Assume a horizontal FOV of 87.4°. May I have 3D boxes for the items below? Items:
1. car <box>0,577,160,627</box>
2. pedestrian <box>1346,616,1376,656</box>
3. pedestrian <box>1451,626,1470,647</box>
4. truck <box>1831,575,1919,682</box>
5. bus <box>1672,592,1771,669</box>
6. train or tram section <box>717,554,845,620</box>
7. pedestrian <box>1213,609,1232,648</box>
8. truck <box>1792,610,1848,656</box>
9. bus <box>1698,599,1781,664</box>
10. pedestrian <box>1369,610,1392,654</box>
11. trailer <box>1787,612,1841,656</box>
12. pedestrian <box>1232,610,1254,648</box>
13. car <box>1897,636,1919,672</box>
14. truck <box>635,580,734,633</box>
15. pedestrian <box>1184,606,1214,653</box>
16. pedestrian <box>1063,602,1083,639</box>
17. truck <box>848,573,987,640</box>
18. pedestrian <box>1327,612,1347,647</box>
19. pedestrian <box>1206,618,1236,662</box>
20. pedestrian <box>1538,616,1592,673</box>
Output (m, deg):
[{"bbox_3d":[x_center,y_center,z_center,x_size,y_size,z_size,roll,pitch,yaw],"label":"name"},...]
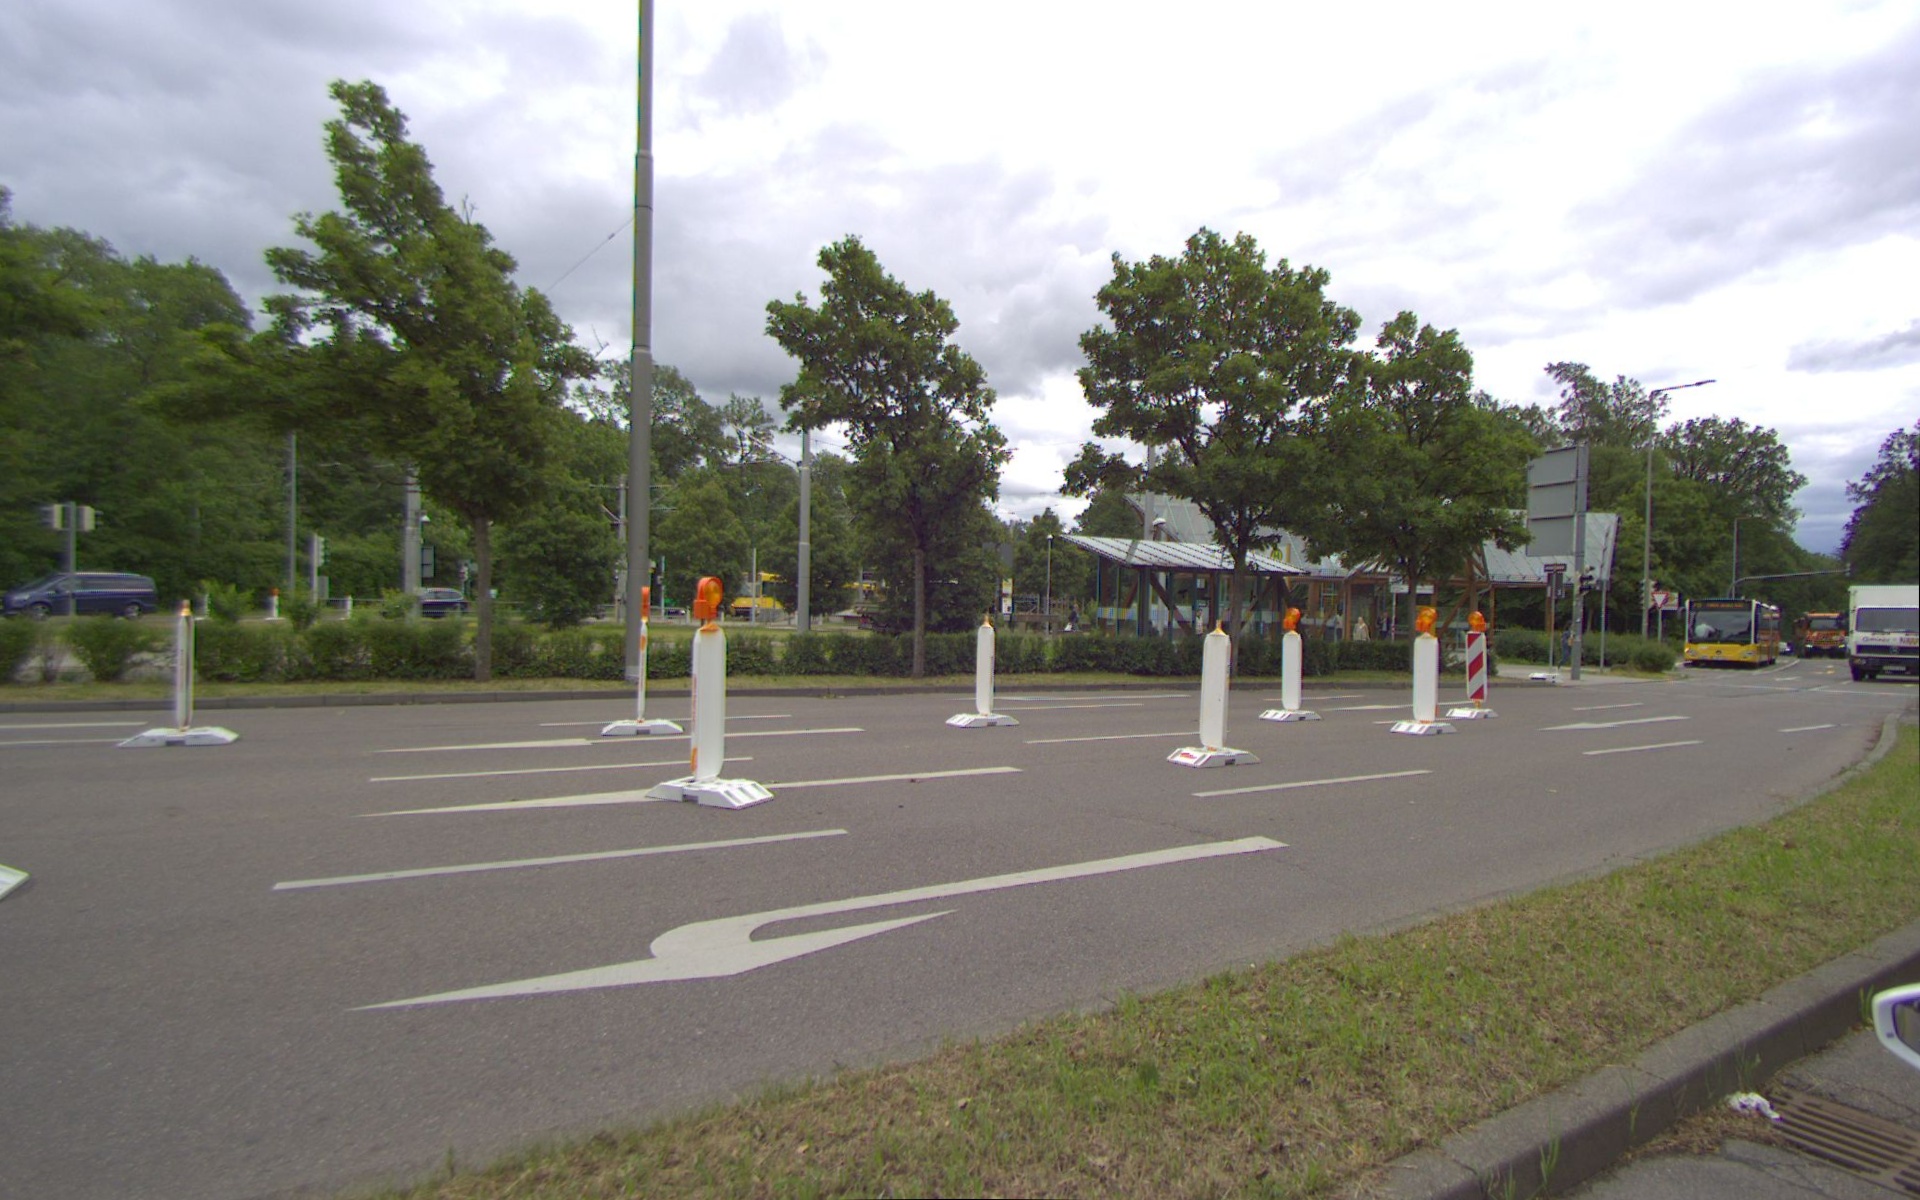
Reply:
[{"bbox_3d":[-35.807,0.064,40.781,1.962,1.840,4.830,2,1,24],"label":"car"},{"bbox_3d":[15.684,1.400,39.309,0.870,1.545,0.758,1,2,-45],"label":"pedestrian"},{"bbox_3d":[23.735,1.731,47.657,0.559,0.997,0.553,1,1,-30],"label":"pedestrian"},{"bbox_3d":[31.305,0.969,33.559,6.160,3.281,2.605,2,-2,-42],"label":"truck"},{"bbox_3d":[35.367,1.410,46.482,2.866,3.168,9.708,1,-1,42],"label":"bus"},{"bbox_3d":[-13.857,-1.035,81.070,3.514,4.595,18.693,2,1,11],"label":"train or tram section"},{"bbox_3d":[11.618,1.254,44.450,0.573,1.646,0.673,2,1,-6],"label":"pedestrian"},{"bbox_3d":[65.731,2.603,76.920,2.704,3.361,7.135,-1,-3,37],"label":"truck"},{"bbox_3d":[41.478,1.666,53.346,2.866,3.168,8.648,1,-1,42],"label":"bus"},{"bbox_3d":[18.172,1.355,43.397,0.751,1.833,0.995,2,1,17],"label":"pedestrian"},{"bbox_3d":[68.731,2.834,80.985,2.704,3.361,8.539,-1,-3,36],"label":"trailer"},{"bbox_3d":[12.462,1.270,44.291,0.577,1.646,0.668,1,1,-31],"label":"pedestrian"},{"bbox_3d":[42.491,2.379,44.088,4.280,1.528,1.790,3,-3,-44],"label":"car"},{"bbox_3d":[-21.867,0.454,80.364,3.712,3.933,8.775,2,1,14],"label":"truck"},{"bbox_3d":[8.795,1.084,36.943,0.674,1.688,0.867,2,1,-16],"label":"pedestrian"},{"bbox_3d":[5.212,0.937,46.425,0.769,1.646,0.770,2,1,14],"label":"pedestrian"},{"bbox_3d":[-1.414,0.199,37.442,2.558,2.199,6.297,2,1,24],"label":"truck"},{"bbox_3d":[17.755,1.377,47.369,0.662,1.618,0.673,2,1,4],"label":"pedestrian"},{"bbox_3d":[9.591,1.471,36.929,0.778,1.573,0.773,2,1,-13],"label":"pedestrian"},{"bbox_3d":[18.474,1.351,30.700,1.076,1.698,0.908,2,-1,-17],"label":"pedestrian"}]
